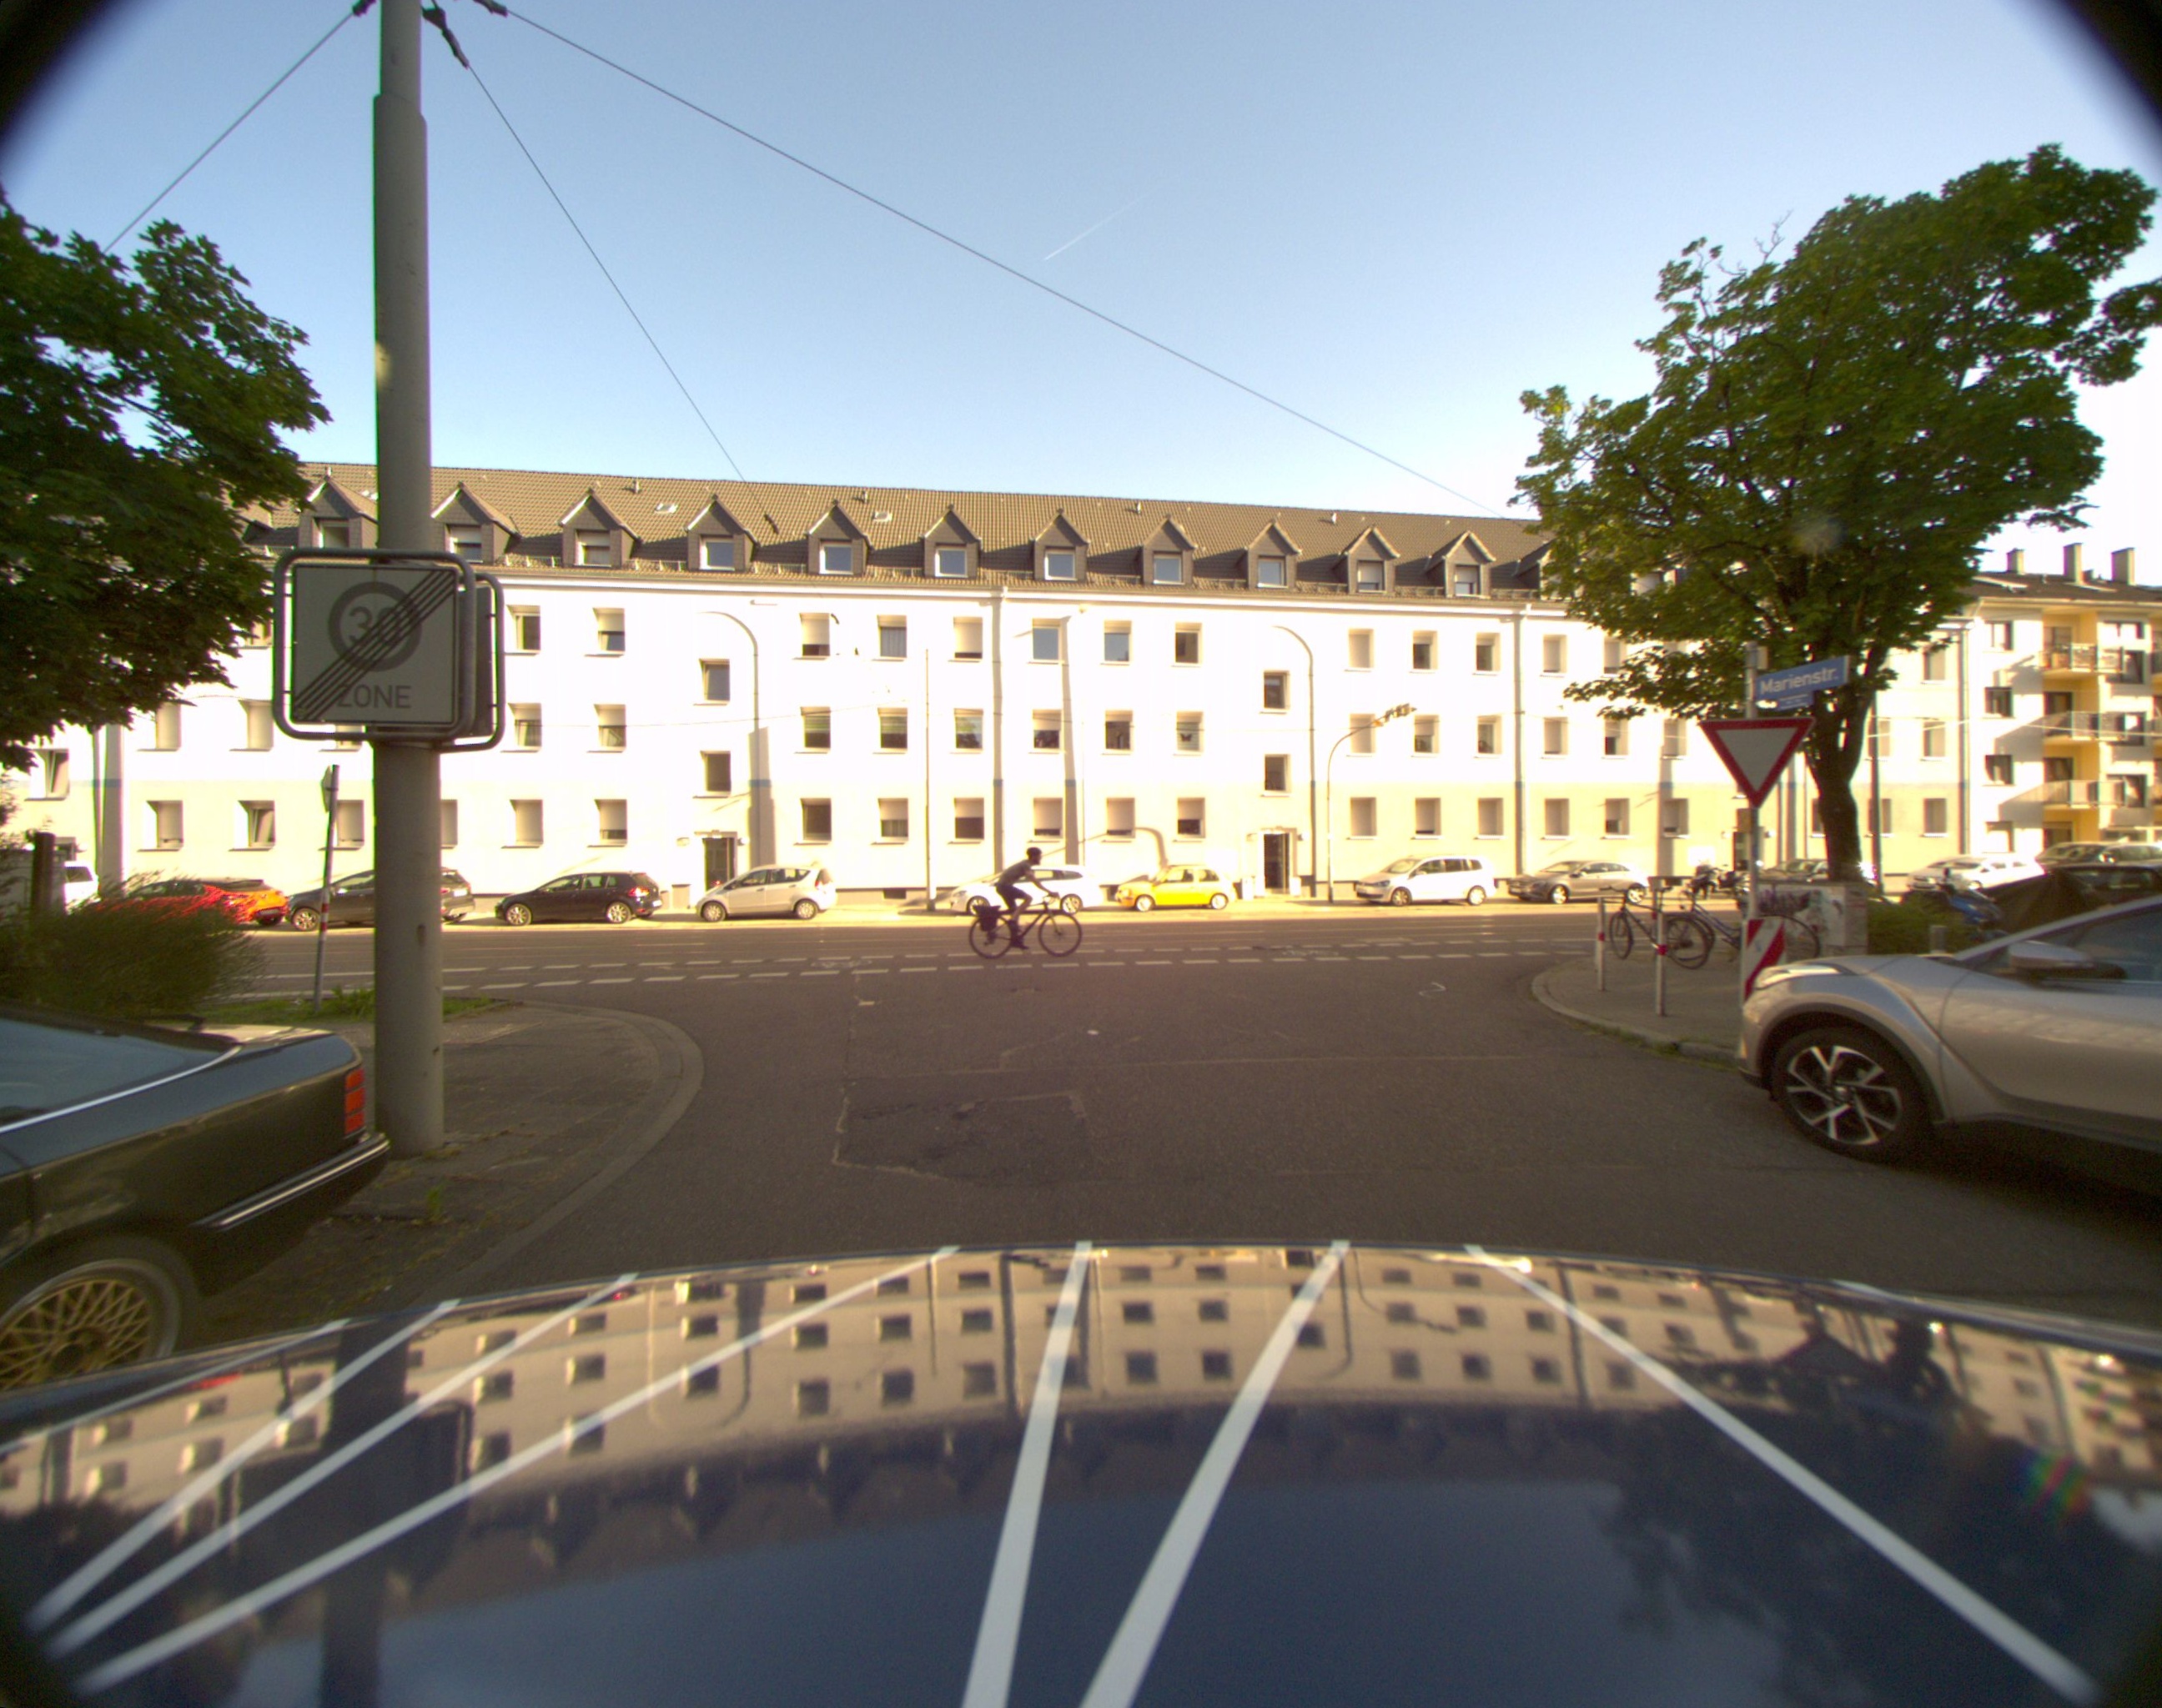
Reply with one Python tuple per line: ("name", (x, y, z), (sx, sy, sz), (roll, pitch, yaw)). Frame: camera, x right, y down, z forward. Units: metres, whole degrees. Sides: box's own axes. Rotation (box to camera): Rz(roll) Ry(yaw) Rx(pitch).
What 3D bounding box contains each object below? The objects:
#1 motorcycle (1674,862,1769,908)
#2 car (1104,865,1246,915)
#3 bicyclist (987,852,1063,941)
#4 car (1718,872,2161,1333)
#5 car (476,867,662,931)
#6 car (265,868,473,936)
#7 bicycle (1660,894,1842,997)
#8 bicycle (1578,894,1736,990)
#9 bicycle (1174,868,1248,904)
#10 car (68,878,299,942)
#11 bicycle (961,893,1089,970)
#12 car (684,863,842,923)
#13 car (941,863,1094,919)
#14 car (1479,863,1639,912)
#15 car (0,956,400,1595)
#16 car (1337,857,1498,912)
("motorcycle", (21.934, 1.040, 26.033), (2.708, 1.513, 0.807), (0, 2, -6))
("car", (2.920, 1.113, 23.973), (4.201, 1.422, 1.517), (-1, 1, -8))
("bicyclist", (-0.910, 0.638, 11.958), (1.095, 1.323, 1.186), (0, 0, -9))
("car", (4.980, 0.970, 2.657), (1.909, 1.650, 3.998), (2, 0, -5))
("car", (-14.429, 1.240, 21.631), (4.007, 1.530, 1.594), (0, 6, -9))
("car", (-19.532, 1.286, 21.010), (3.903, 1.661, 1.664), (0, 4, -6))
("bicycle", (8.399, 1.097, 9.642), (0.595, 1.078, 1.811), (0, 0, -5))
("bicycle", (7.693, 1.135, 10.274), (0.595, 1.078, 1.882), (0, 0, -5))
("bicycle", (4.515, 1.093, 26.475), (2.327, 1.190, 1.098), (0, 0, -8))
("car", (-24.169, 1.476, 20.607), (3.778, 1.475, 1.799), (0, 4, -6))
("bicycle", (-0.885, 1.199, 11.946), (1.960, 1.095, 0.624), (0, 2, -8))
("car", (-9.236, 1.110, 22.368), (3.903, 1.562, 1.758), (0, 3, -6))
("car", (-1.937, 1.080, 23.206), (4.509, 1.562, 1.683), (0, 2, -7))
("car", (16.217, 1.106, 25.897), (4.365, 1.546, 1.868), (0, 2, -6))
("car", (-3.438, 1.089, 0.579), (1.713, 1.380, 4.569), (-1, 0, 0))
("car", (11.009, 0.946, 24.977), (4.626, 1.656, 1.758), (0, 2, -10))
